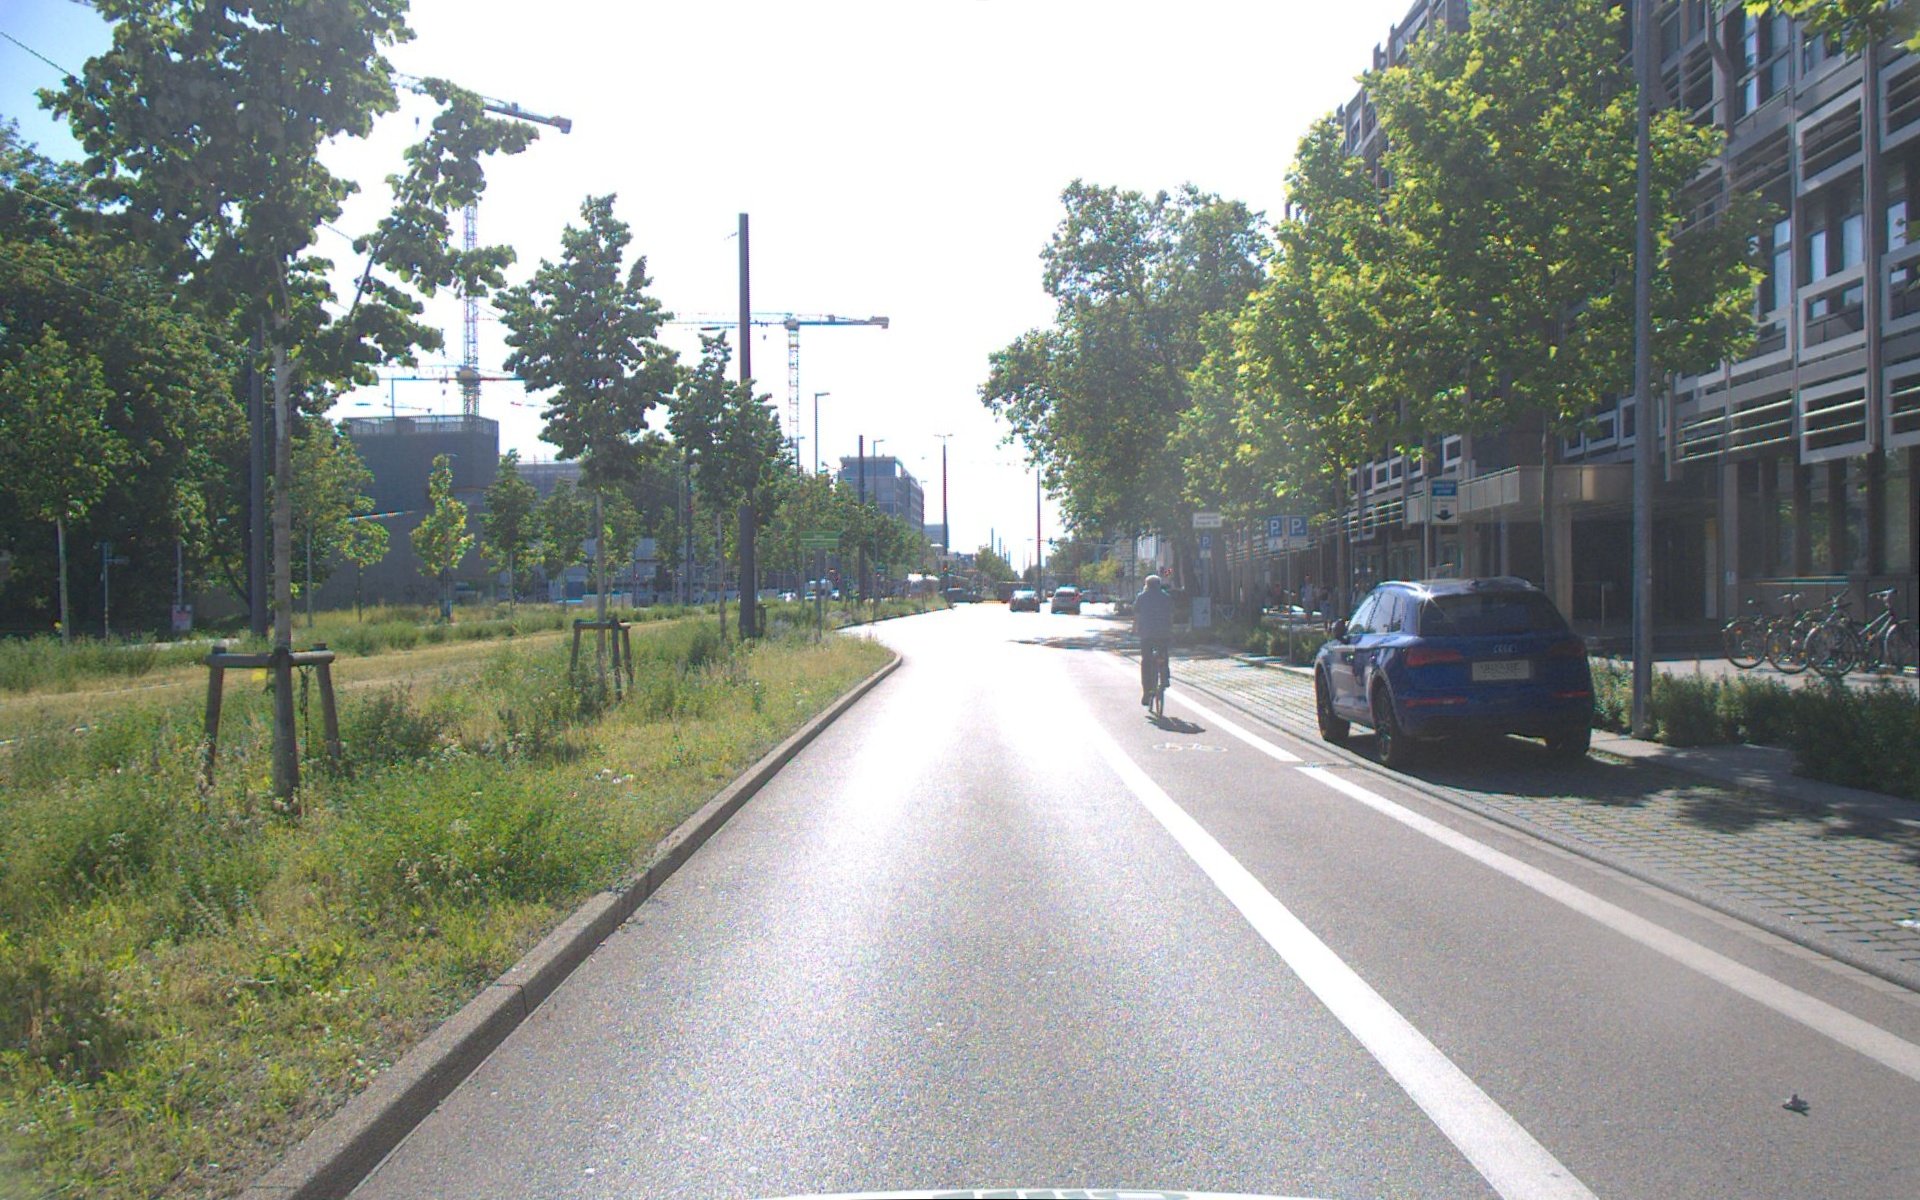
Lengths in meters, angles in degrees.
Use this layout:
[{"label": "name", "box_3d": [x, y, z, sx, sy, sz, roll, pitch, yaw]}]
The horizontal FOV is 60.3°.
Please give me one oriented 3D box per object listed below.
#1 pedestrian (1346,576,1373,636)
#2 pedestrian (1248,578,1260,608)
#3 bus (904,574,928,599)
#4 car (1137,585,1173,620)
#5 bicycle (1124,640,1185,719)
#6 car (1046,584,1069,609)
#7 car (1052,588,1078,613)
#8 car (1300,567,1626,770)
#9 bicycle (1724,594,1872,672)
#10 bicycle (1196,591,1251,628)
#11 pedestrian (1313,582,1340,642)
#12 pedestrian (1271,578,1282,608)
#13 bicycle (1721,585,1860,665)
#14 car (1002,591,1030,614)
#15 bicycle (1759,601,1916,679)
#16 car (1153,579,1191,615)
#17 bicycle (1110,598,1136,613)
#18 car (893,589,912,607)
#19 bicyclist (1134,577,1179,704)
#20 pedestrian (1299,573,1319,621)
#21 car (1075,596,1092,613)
[{"label": "pedestrian", "box_3d": [10.275, 0.146, 42.571, 0.500, 1.500, 0.736, -2, 0, 3]}, {"label": "pedestrian", "box_3d": [15.980, -0.394, 89.822, 0.495, 1.612, 0.634, 0, 0, -5]}, {"label": "bus", "box_3d": [-5.529, -1.674, 208.616, 2.573, 2.832, 8.845, 1, -1, 1]}, {"label": "car", "box_3d": [10.719, 0.105, 91.226, 1.668, 1.821, 4.194, -2, 0, 4]}, {"label": "bicycle", "box_3d": [2.536, 1.020, 21.761, 0.487, 0.921, 2.196, 1, 0, -1]}, {"label": "car", "box_3d": [7.443, -0.278, 126.368, 1.686, 1.814, 4.187, 0, 0, 2]}, {"label": "car", "box_3d": [7.177, 0.020, 112.836, 1.685, 1.646, 4.189, 0, 0, 5]}, {"label": "car", "box_3d": [4.836, 0.578, 16.703, 1.811, 1.686, 4.849, -2, 0, 1]}, {"label": "bicycle", "box_3d": [11.978, 0.467, 23.667, 1.819, 1.028, 0.427, -3, 0, 4]}, {"label": "bicycle", "box_3d": [9.778, 0.361, 61.340, 1.897, 1.258, 0.579, -3, 0, 0]}, {"label": "pedestrian", "box_3d": [10.847, 0.340, 48.951, 0.634, 1.758, 0.803, 0, 0, 3]}, {"label": "pedestrian", "box_3d": [17.211, -0.385, 89.991, 0.542, 1.631, 0.573, 0, 0, 4]}, {"label": "bicycle", "box_3d": [12.581, 0.381, 25.070, 1.819, 1.117, 0.427, -3, 0, 4]}, {"label": "car", "box_3d": [3.953, 0.159, 116.573, 1.872, 1.512, 4.011, 0, 0, 3]}, {"label": "bicycle", "box_3d": [11.810, 0.535, 22.279, 1.819, 0.955, 0.427, -3, 0, 4]}, {"label": "car", "box_3d": [10.220, -0.163, 79.829, 1.668, 1.672, 4.639, 0, 0, 5]}, {"label": "bicycle", "box_3d": [11.073, 0.386, 112.418, 1.659, 0.974, 0.478, -2, 0, -1]}, {"label": "car", "box_3d": [-6.135, -0.247, 176.974, 1.858, 1.847, 4.000, 1, -1, 0]}, {"label": "bicyclist", "box_3d": [2.553, 0.517, 21.522, 0.502, 1.629, 0.536, -1, 0, -1]}, {"label": "pedestrian", "box_3d": [12.700, -0.121, 60.224, 0.500, 1.730, 0.774, -3, 0, 3]}, {"label": "car", "box_3d": [12.974, 0.453, 174.181, 1.628, 1.678, 3.701, 1, -1, 2]}]
